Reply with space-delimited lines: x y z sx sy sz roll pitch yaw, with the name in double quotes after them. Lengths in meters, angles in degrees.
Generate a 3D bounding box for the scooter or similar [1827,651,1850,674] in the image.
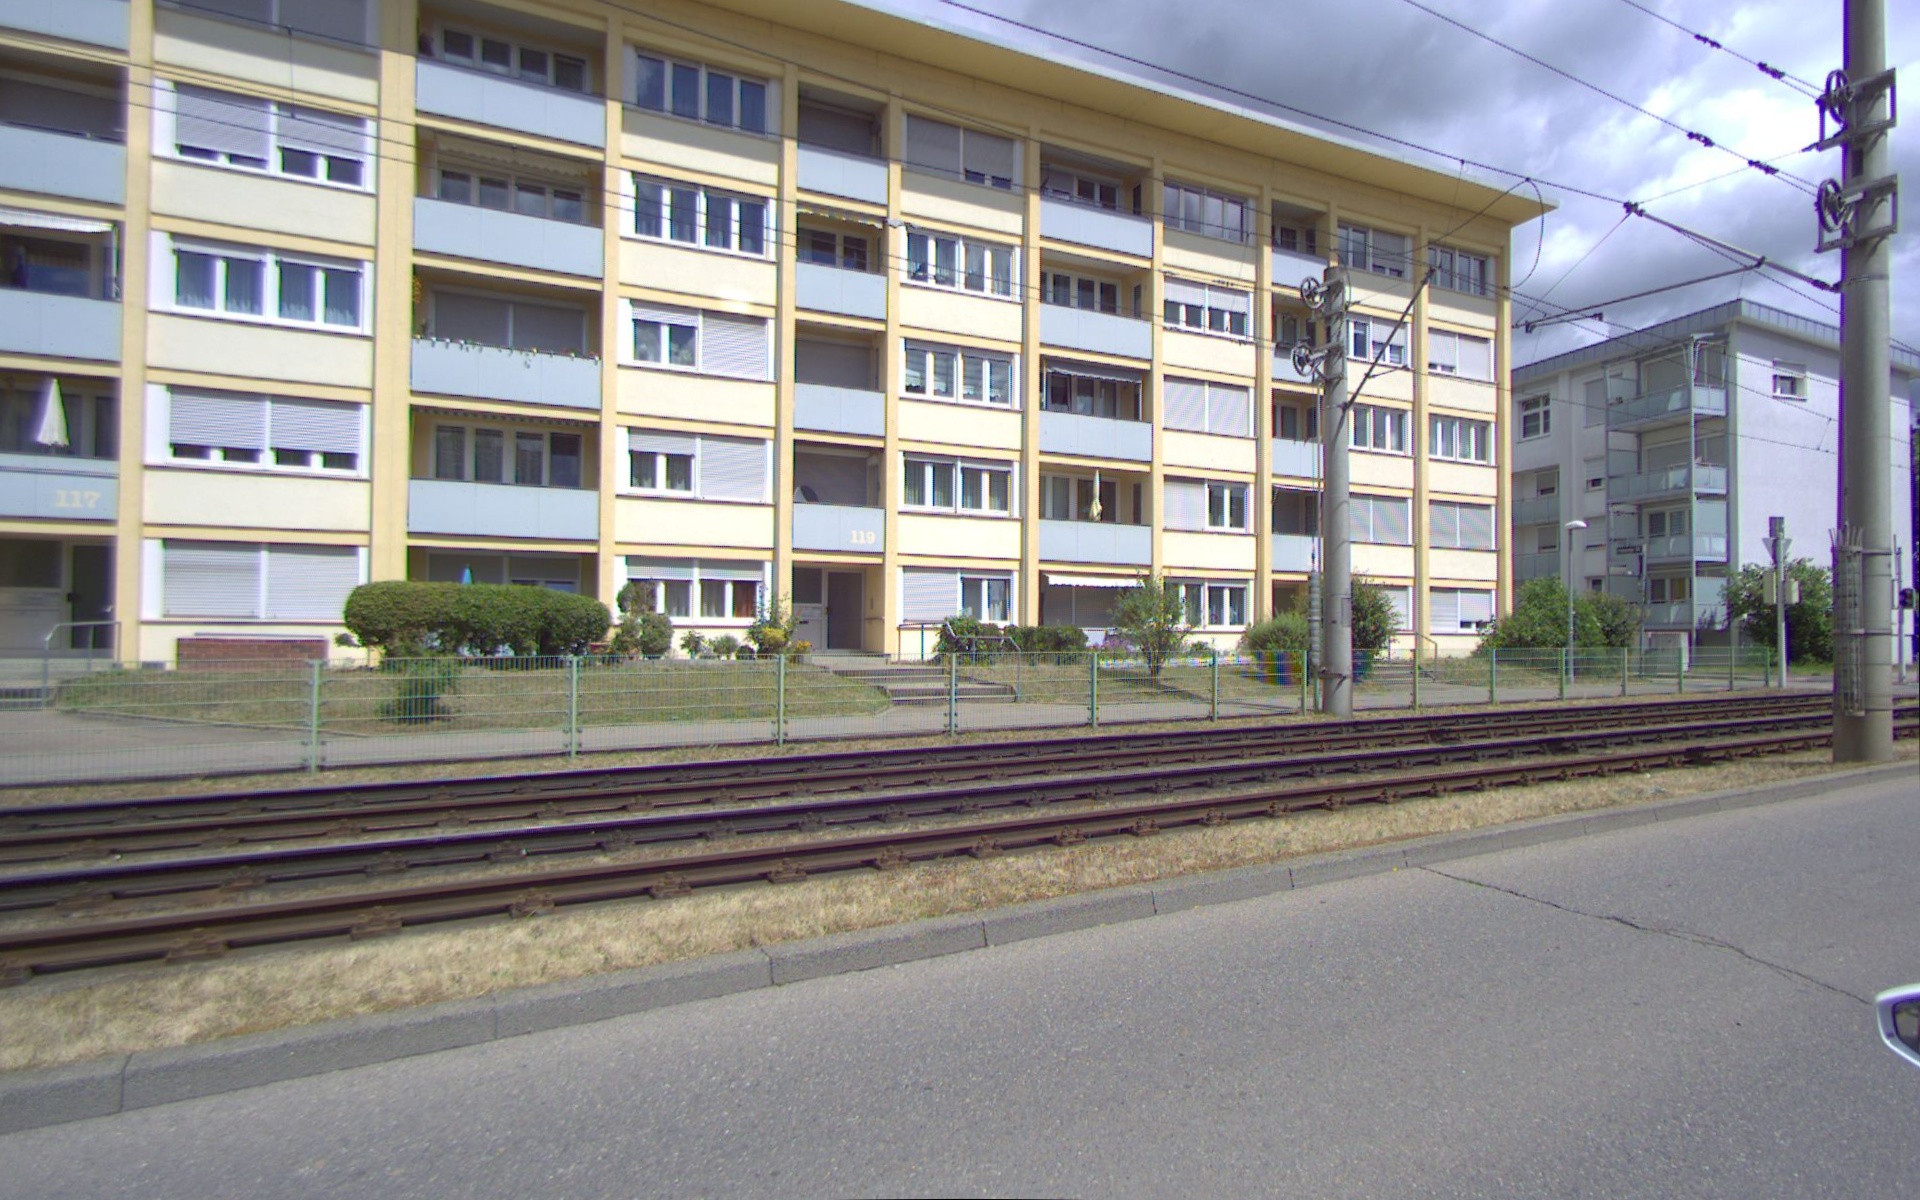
29.253 2.076 33.456 0.468 0.757 0.436 1 -1 -25 "scooter or similar"

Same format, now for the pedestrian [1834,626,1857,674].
29.681 1.664 33.664 0.468 1.601 0.436 1 -1 -25 "pedestrian"

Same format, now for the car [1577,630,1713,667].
26.355 1.838 38.796 1.873 1.363 3.980 1 -2 -21 "car"
